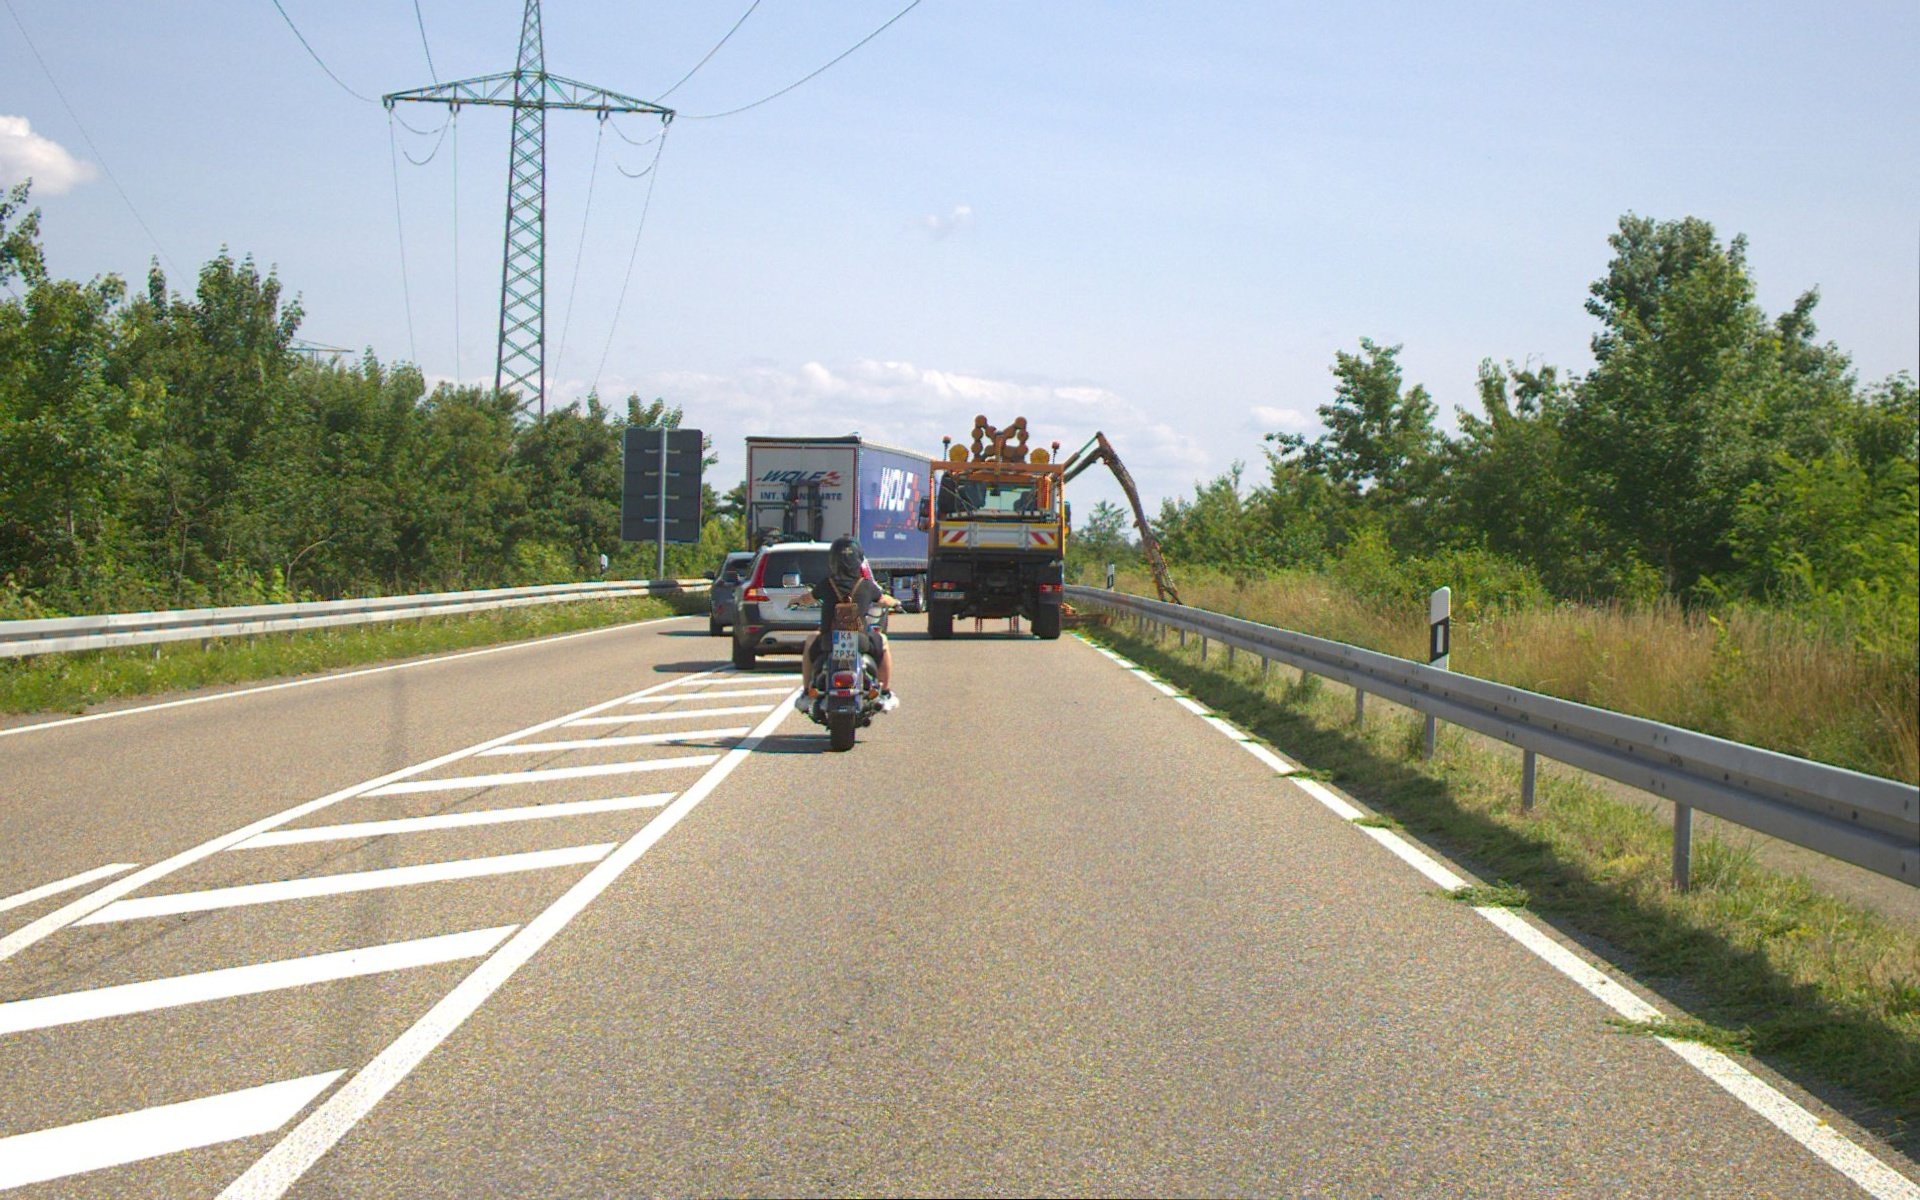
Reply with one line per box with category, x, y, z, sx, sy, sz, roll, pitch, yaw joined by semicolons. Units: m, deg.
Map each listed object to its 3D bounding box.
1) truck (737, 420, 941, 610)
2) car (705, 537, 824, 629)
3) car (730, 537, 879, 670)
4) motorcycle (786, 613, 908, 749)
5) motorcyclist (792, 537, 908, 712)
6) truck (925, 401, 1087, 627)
truck;-2.736;-2.013;83.545;2.968;4.172;14.819;1;1;6
car;-3.338;-0.325;59.313;1.855;1.484;3.741;1;1;0
car;-1.941;0.006;42.116;1.700;1.531;3.500;1;1;-4
motorcycle;-0.836;0.582;25.653;0.859;0.912;2.228;1;1;-1
motorcyclist;-0.823;0.170;25.788;0.837;1.276;0.919;1;1;-1
truck;0.798;-1.486;60.258;2.614;3.698;6.777;1;1;1
